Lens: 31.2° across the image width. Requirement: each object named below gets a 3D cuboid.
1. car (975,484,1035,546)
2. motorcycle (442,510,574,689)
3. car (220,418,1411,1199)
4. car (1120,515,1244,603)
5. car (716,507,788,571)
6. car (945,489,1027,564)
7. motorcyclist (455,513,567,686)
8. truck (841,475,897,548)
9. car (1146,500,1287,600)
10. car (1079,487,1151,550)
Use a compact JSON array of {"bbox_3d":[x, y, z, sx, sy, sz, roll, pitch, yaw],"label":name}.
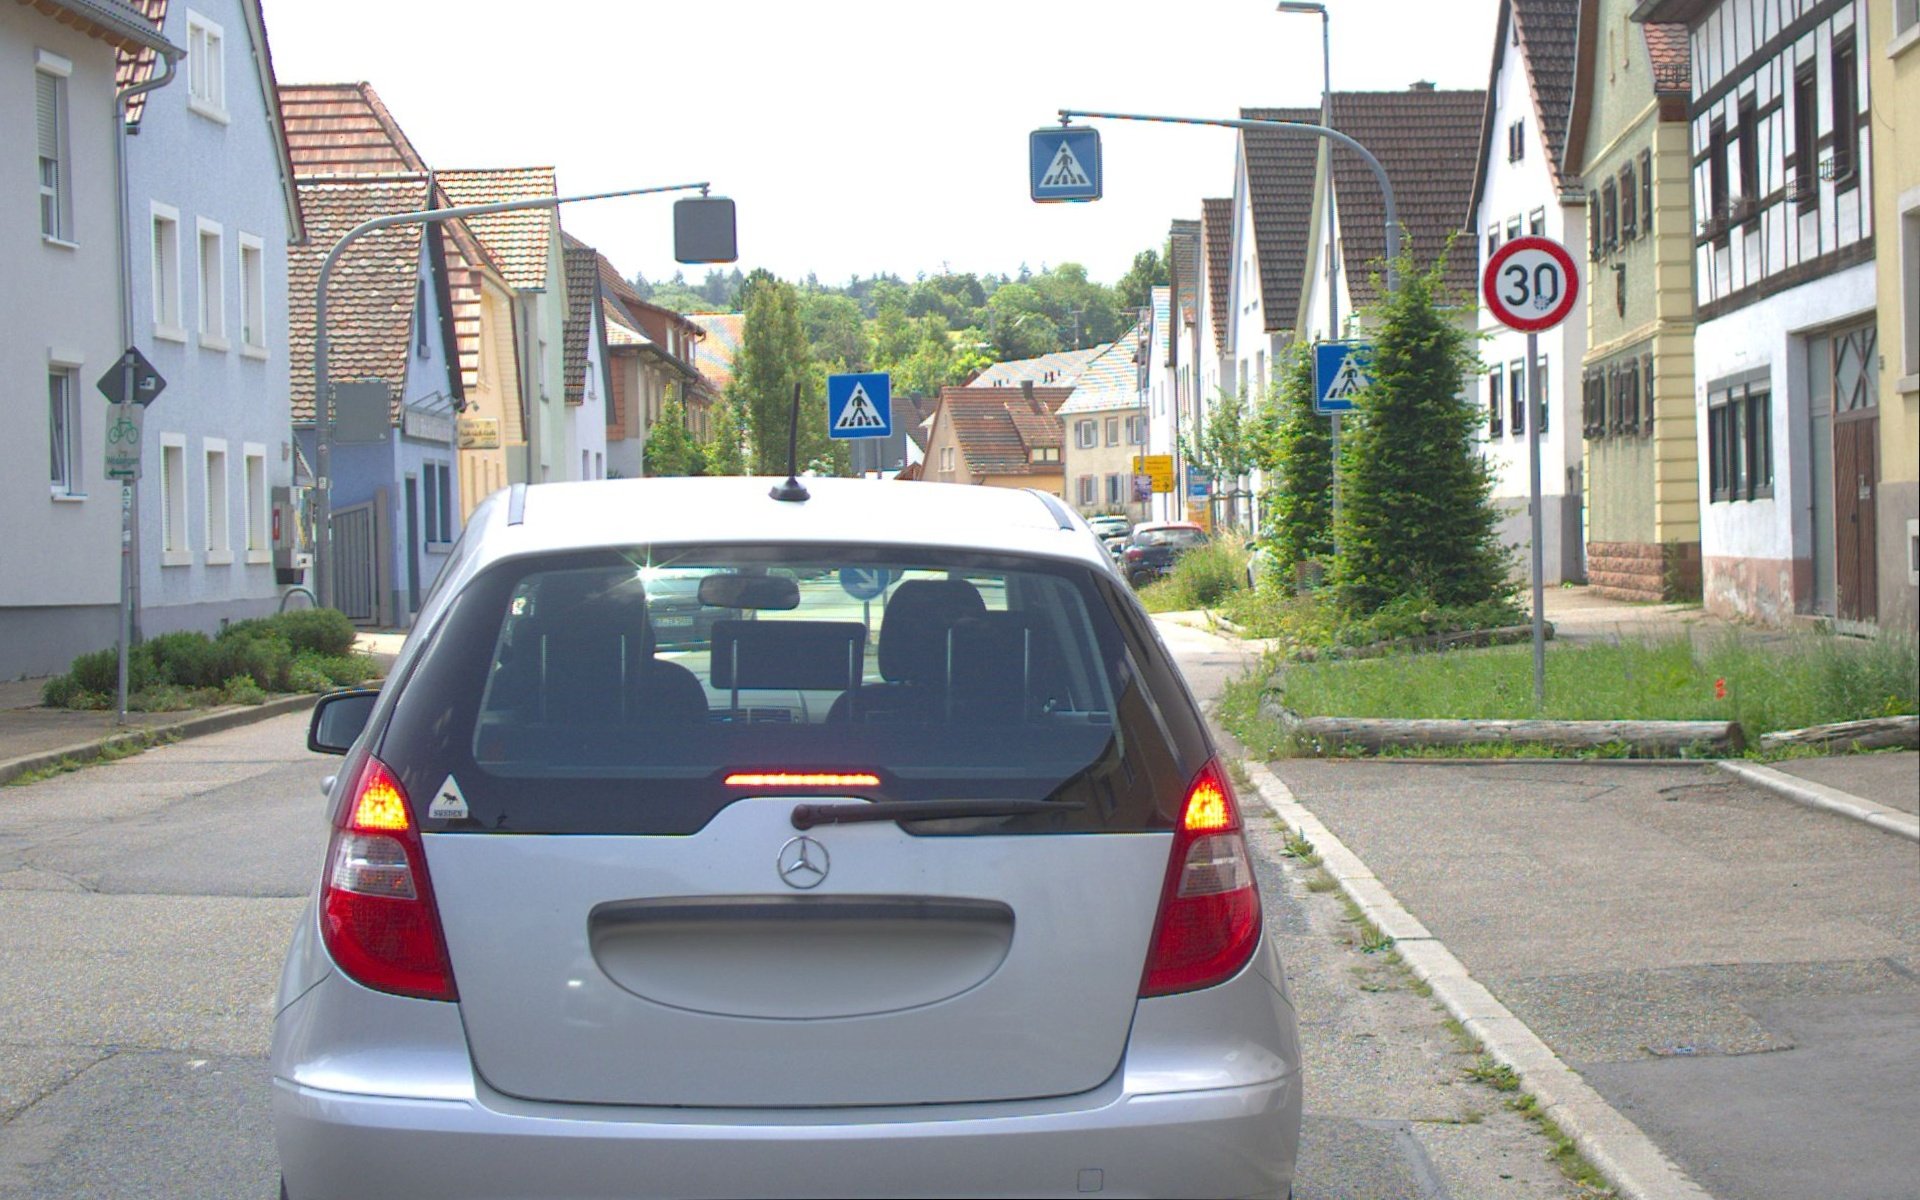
[{"bbox_3d":[1.536,-2.896,117.957,1.993,2.007,4.000,0,-1,0],"label":"car"},{"bbox_3d":[-4.065,-0.027,31.063,0.880,1.555,1.967,0,2,1],"label":"motorcycle"},{"bbox_3d":[-0.430,0.534,7.128,1.810,1.638,3.730,1,1,-7],"label":"car"},{"bbox_3d":[3.999,-0.717,62.438,1.993,1.503,4.000,0,-1,0],"label":"car"},{"bbox_3d":[-5.535,-1.618,91.838,1.667,1.590,4.000,0,-1,0],"label":"car"},{"bbox_3d":[0.642,-1.861,88.109,1.993,1.810,4.000,0,-1,-1],"label":"car"},{"bbox_3d":[-4.087,-0.016,31.316,0.896,1.549,0.807,0,1,1],"label":"motorcyclist"},{"bbox_3d":[-3.425,-3.302,130.190,1.993,2.528,6.739,0,-1,-1],"label":"truck"},{"bbox_3d":[4.105,-0.781,55.539,1.993,1.503,4.000,0,-1,0],"label":"car"},{"bbox_3d":[4.760,-2.496,105.968,1.993,1.810,4.000,0,-1,-1],"label":"car"}]
